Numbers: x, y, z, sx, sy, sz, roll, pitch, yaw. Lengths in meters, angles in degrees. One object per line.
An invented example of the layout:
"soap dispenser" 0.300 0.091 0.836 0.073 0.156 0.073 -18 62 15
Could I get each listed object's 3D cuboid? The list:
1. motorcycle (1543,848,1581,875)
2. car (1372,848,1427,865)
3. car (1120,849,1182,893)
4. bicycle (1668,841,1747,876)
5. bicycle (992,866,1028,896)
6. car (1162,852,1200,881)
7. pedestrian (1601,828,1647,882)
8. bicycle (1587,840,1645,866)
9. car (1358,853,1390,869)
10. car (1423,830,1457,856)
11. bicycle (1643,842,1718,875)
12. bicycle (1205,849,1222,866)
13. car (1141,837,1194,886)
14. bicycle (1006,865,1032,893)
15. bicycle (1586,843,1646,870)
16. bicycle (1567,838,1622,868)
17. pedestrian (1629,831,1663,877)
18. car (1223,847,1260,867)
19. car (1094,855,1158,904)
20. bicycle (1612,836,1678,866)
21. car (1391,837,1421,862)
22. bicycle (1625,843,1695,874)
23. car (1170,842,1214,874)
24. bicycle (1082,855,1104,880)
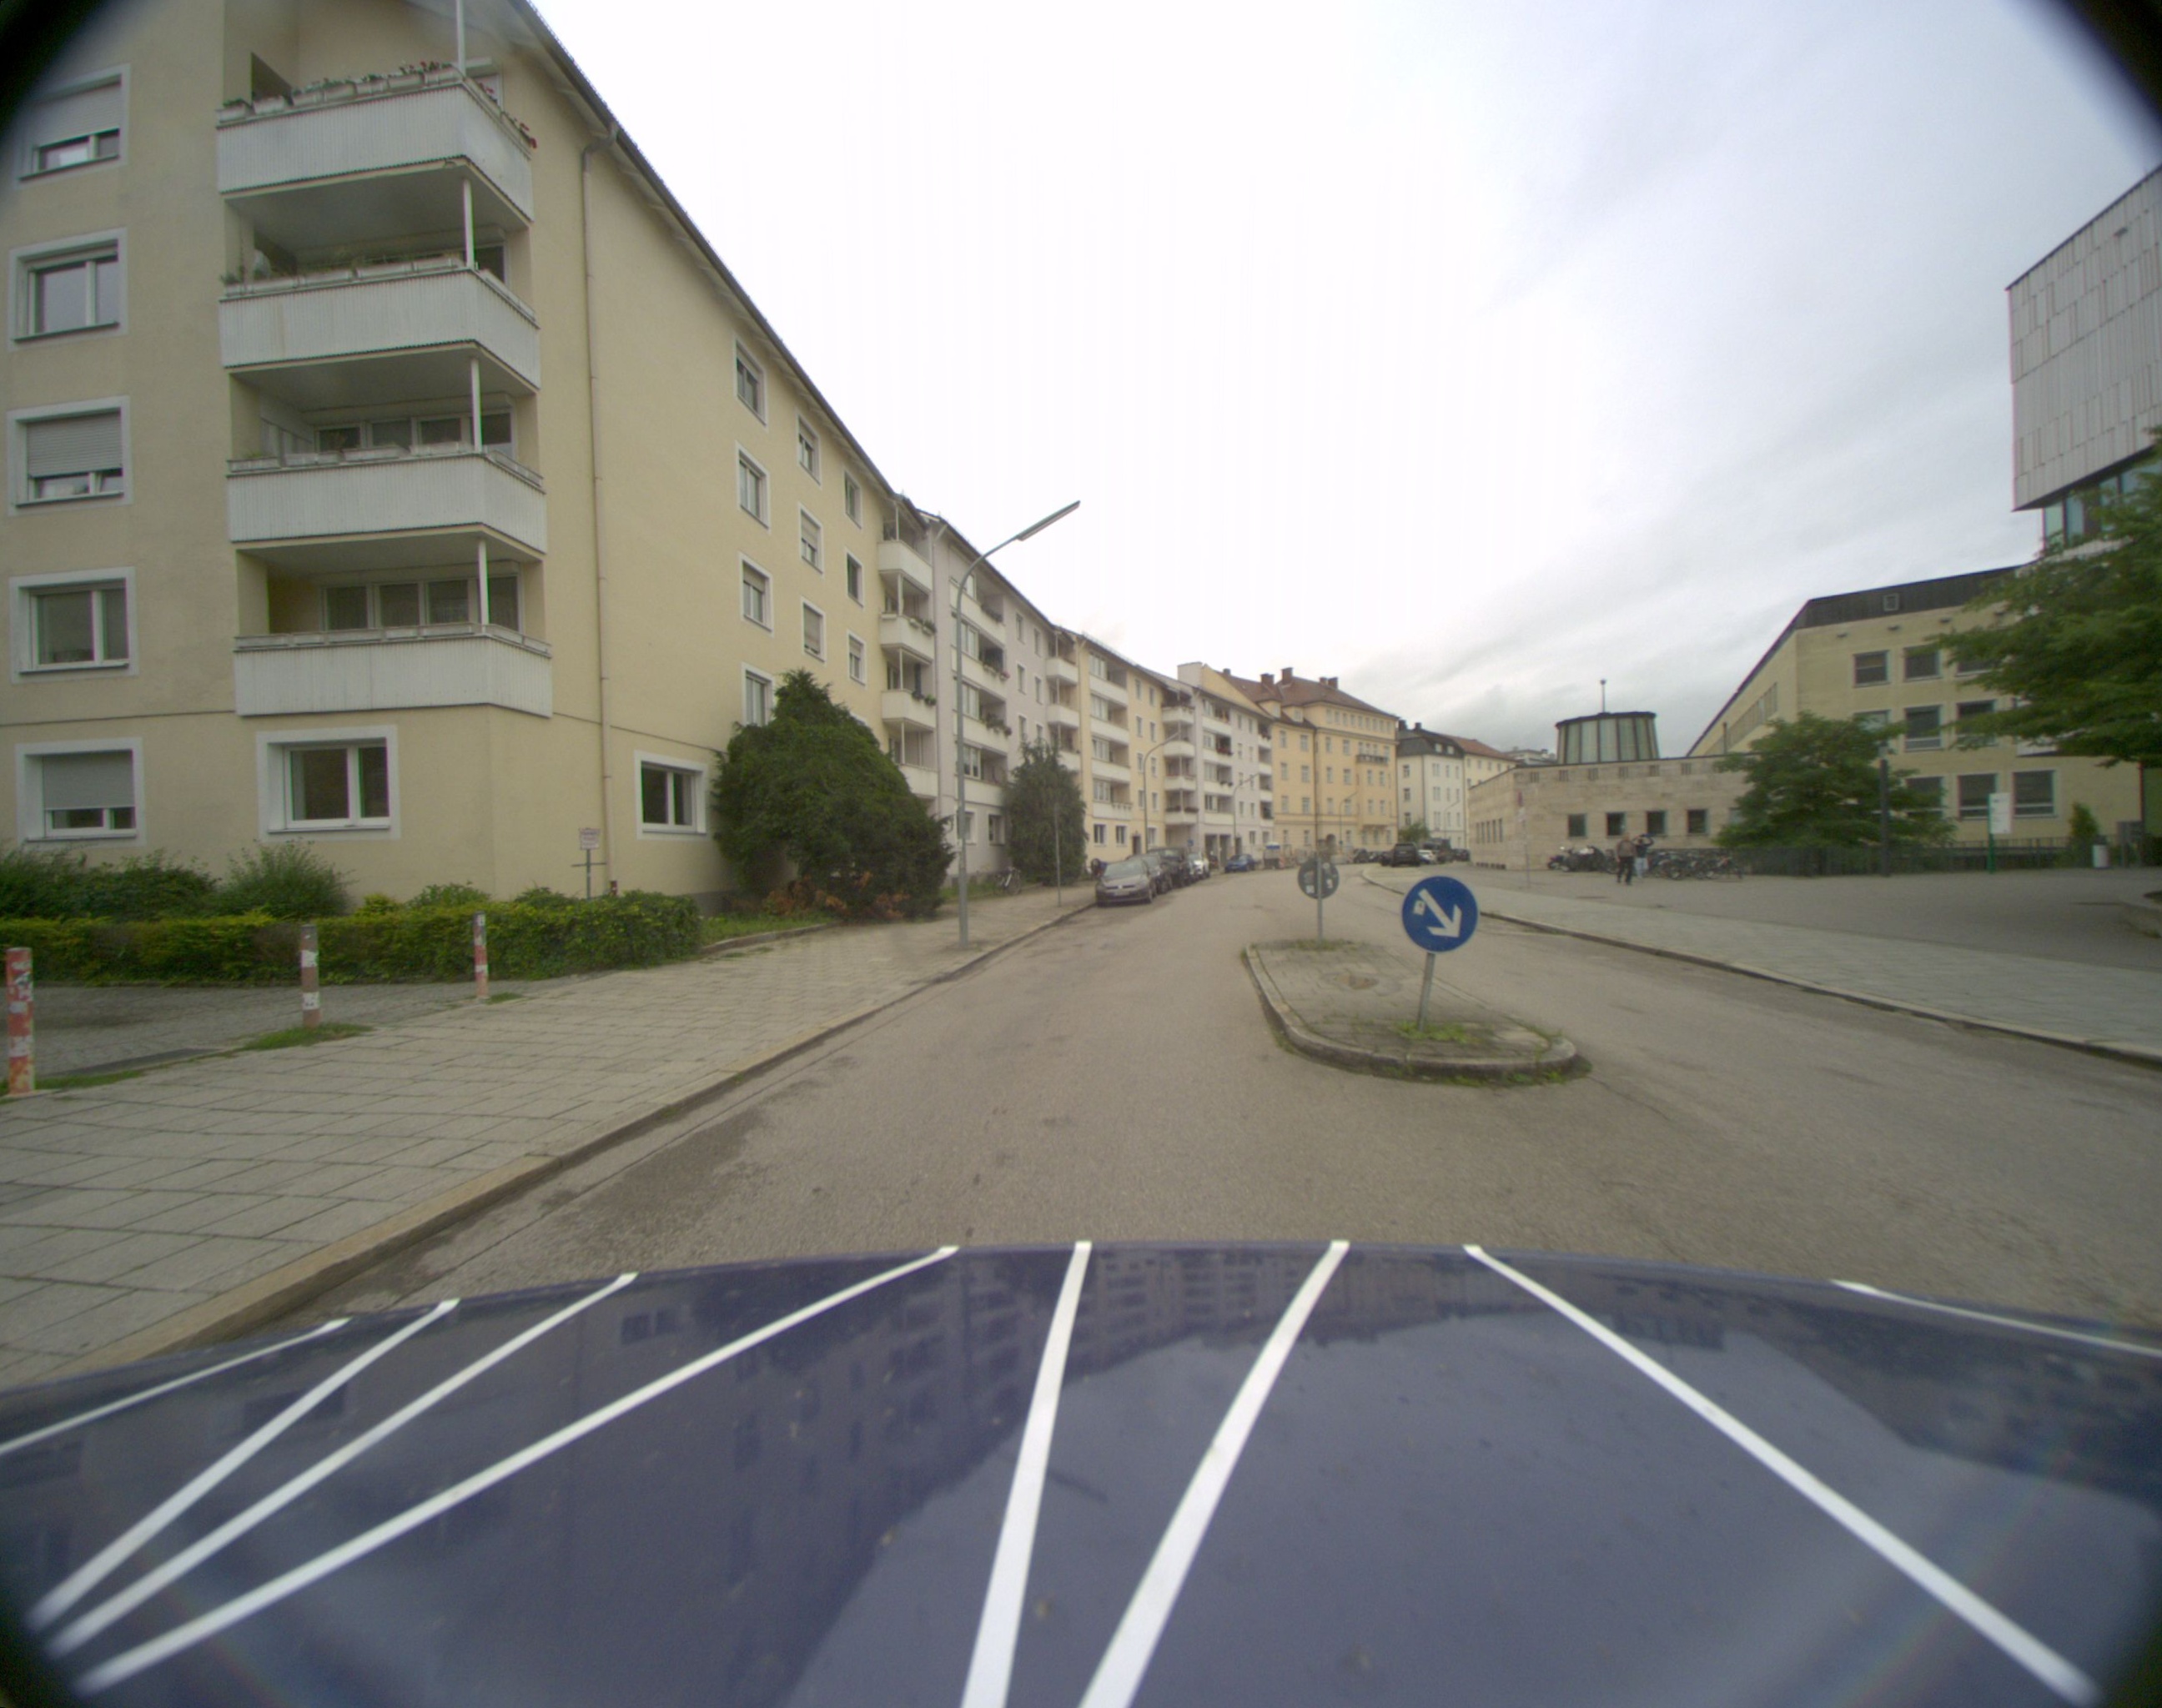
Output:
"motorcycle" 26.201 0.400 41.415 1.566 1.397 0.515 -3 -1 16
"car" 27.768 0.207 66.262 4.005 1.365 1.748 0 2 -4
"car" 2.927 0.625 30.873 1.661 1.556 4.519 -3 0 15
"bicycle" 21.973 0.173 26.671 2.049 1.104 0.617 -3 -1 11
"bicycle" -2.766 1.037 29.789 0.467 1.111 1.947 0 0 26
"car" 5.385 0.623 40.475 1.661 1.341 3.807 -3 0 11
"pedestrian" 18.498 0.020 25.907 0.788 1.772 1.015 -3 1 4
"bicycle" 24.850 -0.034 35.334 2.048 1.104 0.617 -3 -1 14
"car" 34.766 0.777 90.111 3.737 1.719 1.838 -2 -1 -41
"car" 37.231 -1.139 78.781 2.145 2.559 6.224 0 1 35
"bicycle" 22.193 0.180 28.159 2.049 1.104 0.617 -3 -1 11
"bicycle" 10.682 0.298 61.276 0.810 1.315 2.779 0 1 22
"car" 4.141 0.365 35.713 1.750 2.069 4.521 -3 -1 15
"bicycle" -2.608 1.055 31.997 0.468 1.111 1.946 0 0 15
"bicycle" 23.899 0.109 33.960 2.048 1.104 0.617 -3 -1 18
"bicycle" 25.082 -0.049 37.145 2.101 1.343 0.614 -3 -1 14
"pedestrian" 20.020 0.017 26.934 0.644 1.591 0.606 -3 -1 -11
"car" 12.537 0.215 59.283 1.832 1.433 4.636 -3 -1 24
"car" 1.612 0.818 25.895 1.757 1.388 4.047 -3 0 9
"bicycle" 22.879 -0.105 30.862 2.049 1.104 0.617 -3 -1 7
"car" 24.529 -0.331 57.423 1.995 1.761 4.823 -2 -1 23
"bicycle" 22.566 0.176 29.629 2.049 1.104 0.617 -3 -1 11
"car" 6.658 0.252 45.236 2.029 1.668 4.618 -3 -1 15
"bicycle" 0.723 0.784 44.483 0.743 1.360 2.473 2 1 12
